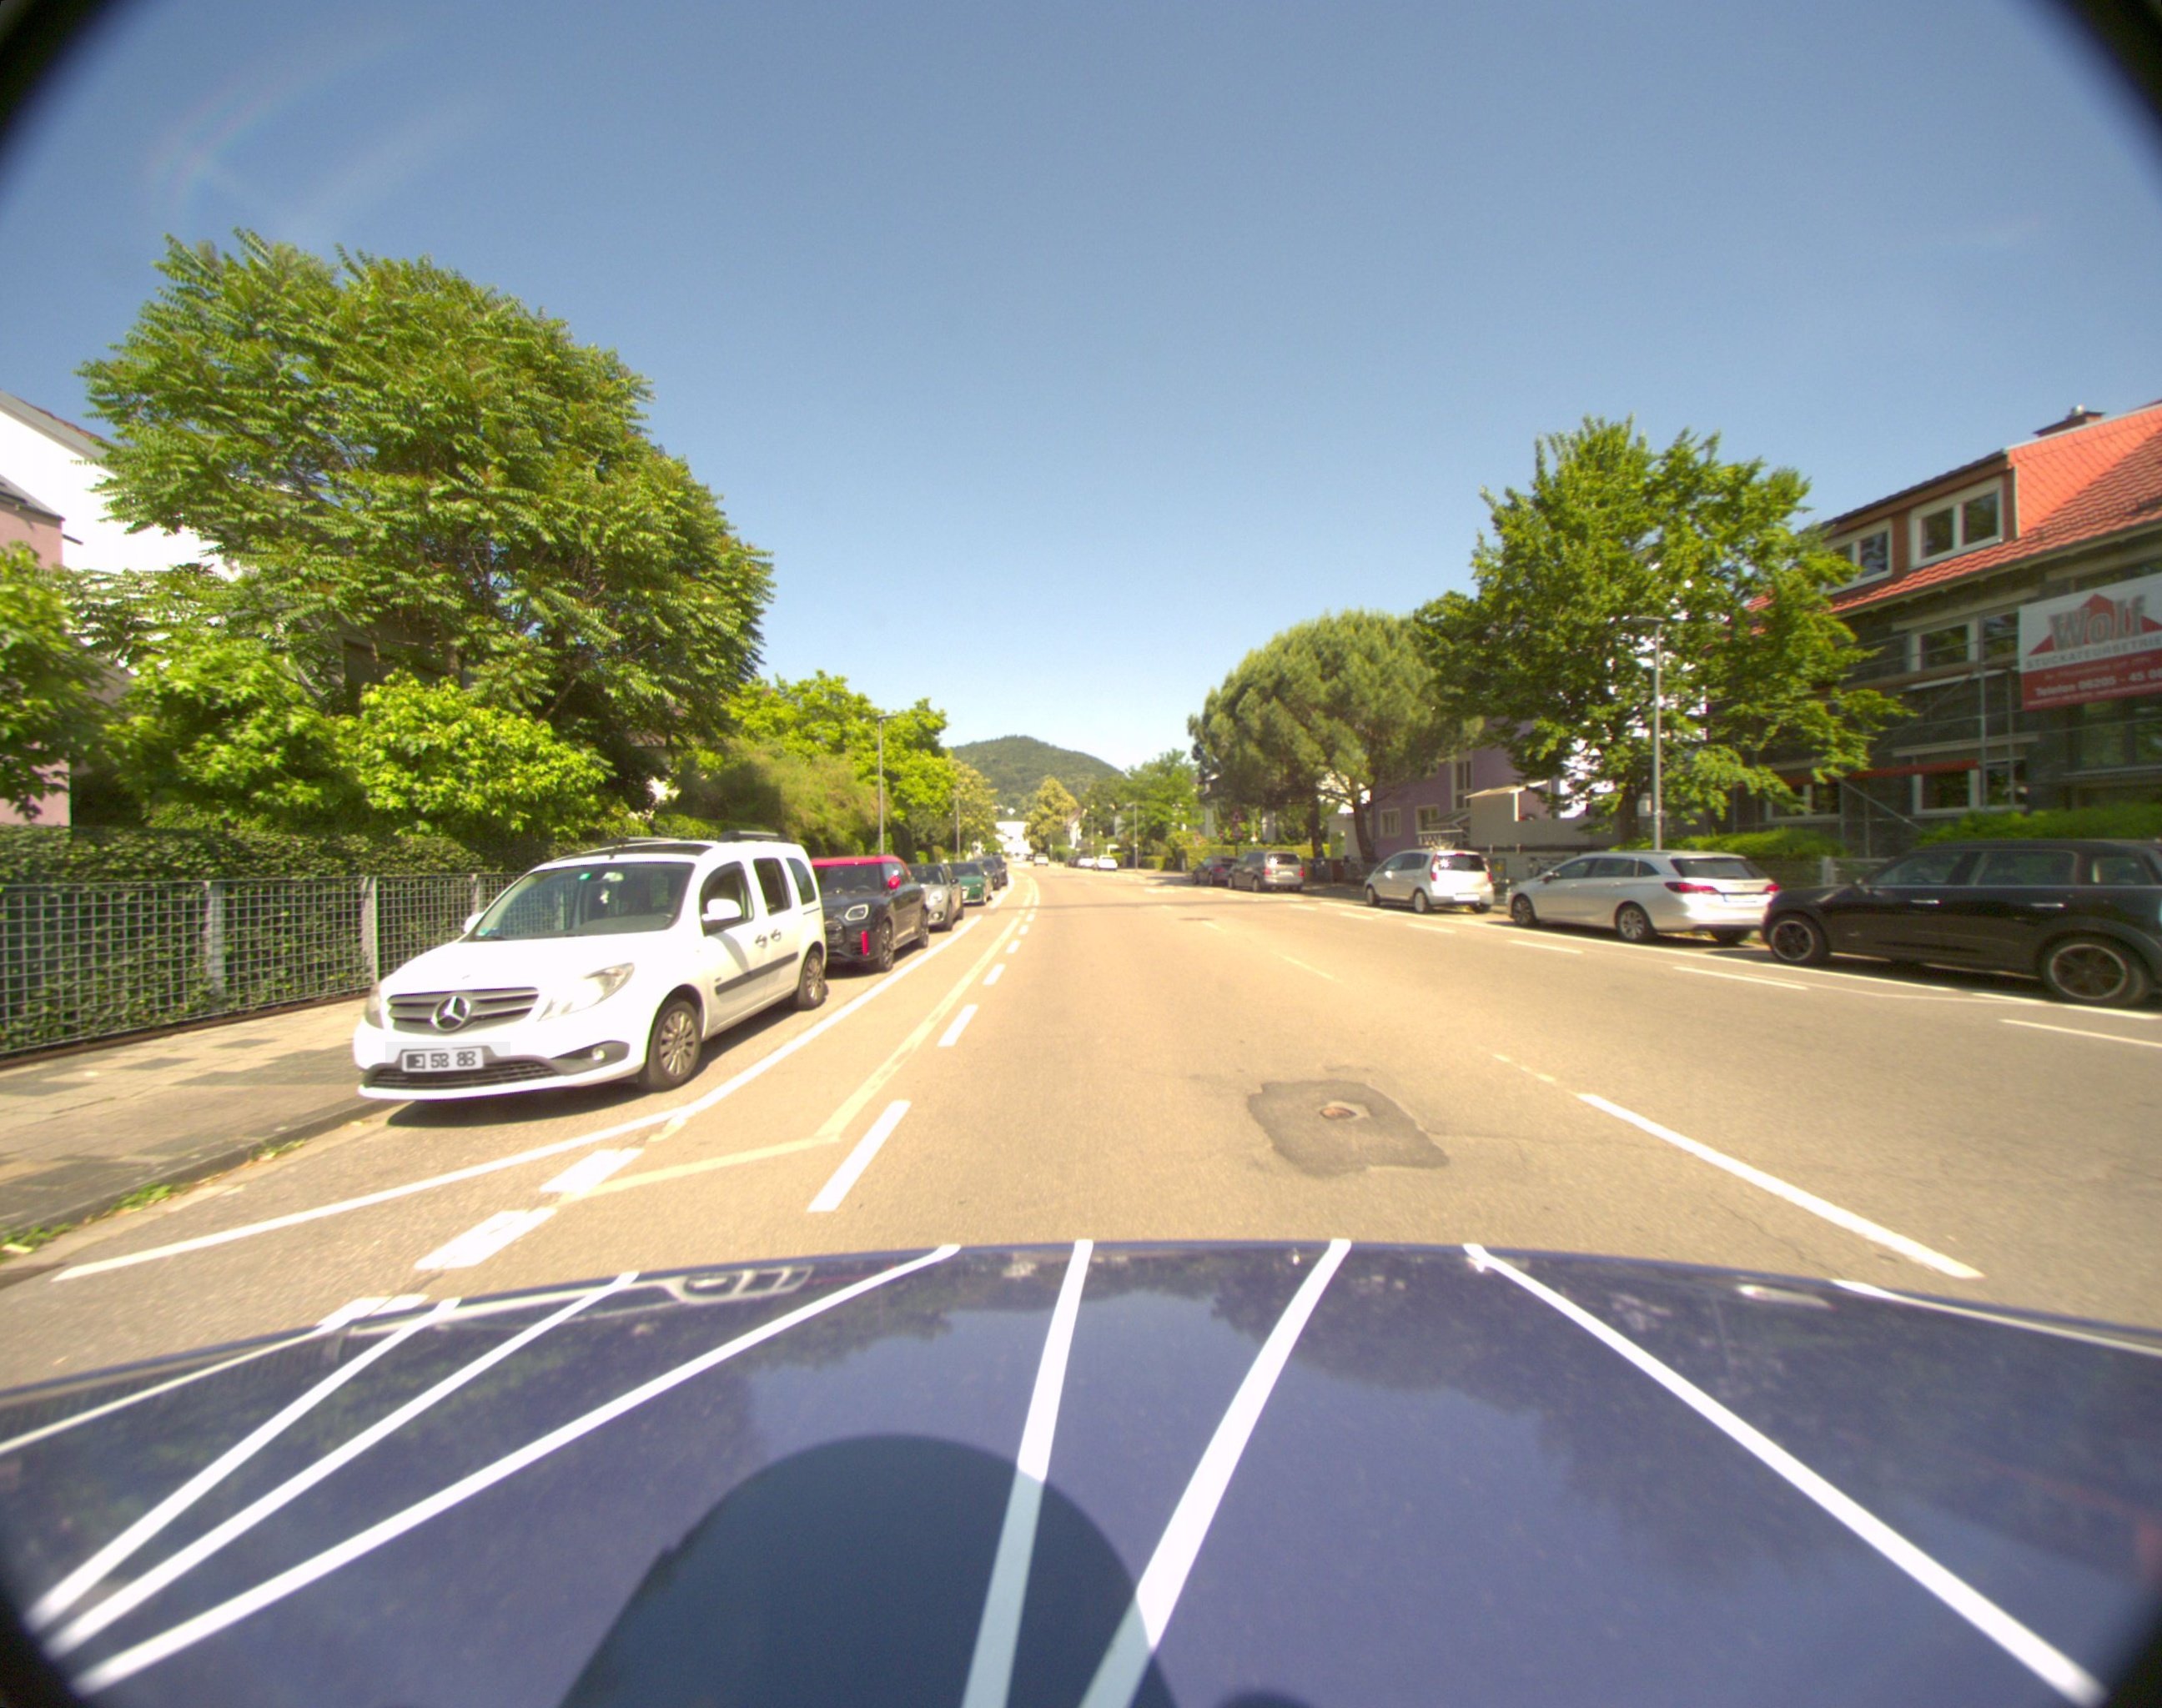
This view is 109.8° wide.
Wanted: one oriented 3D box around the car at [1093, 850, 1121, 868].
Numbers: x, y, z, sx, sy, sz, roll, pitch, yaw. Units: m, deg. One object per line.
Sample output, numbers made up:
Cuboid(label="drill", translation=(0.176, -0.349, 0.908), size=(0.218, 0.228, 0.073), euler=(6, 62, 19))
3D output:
Cuboid(label="car", translation=(2.372, 0.430, 69.947), size=(1.959, 1.543, 3.997), euler=(-1, 0, -6))

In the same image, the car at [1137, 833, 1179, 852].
Cuboid(label="car", translation=(7.600, -1.145, 75.252), size=(3.996, 1.805, 2.001), euler=(0, 0, 4))

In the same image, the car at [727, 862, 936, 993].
Cuboid(label="car", translation=(-3.511, 0.932, 11.597), size=(1.767, 1.584, 4.313), euler=(-1, 0, 0))

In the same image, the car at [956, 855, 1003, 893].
Cuboid(label="car", translation=(-4.737, 0.912, 35.816), size=(1.817, 1.550, 3.915), euler=(-5, 0, -4))

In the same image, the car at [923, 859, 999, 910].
Cuboid(label="car", translation=(-3.920, 0.940, 25.545), size=(1.817, 1.454, 4.787), euler=(-3, 0, -1))

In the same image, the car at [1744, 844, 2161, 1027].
Cuboid(label="car", translation=(9.848, 0.697, 8.171), size=(1.725, 1.550, 3.998), euler=(0, 0, -5))

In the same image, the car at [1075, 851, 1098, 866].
Cuboid(label="car", translation=(0.593, 0.466, 81.622), size=(2.000, 1.608, 3.997), euler=(-1, 0, -6))

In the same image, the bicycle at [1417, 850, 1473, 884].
Cuboid(label="bicycle", translation=(14.922, 0.544, 31.151), size=(2.179, 1.375, 0.503), euler=(0, 0, -9))

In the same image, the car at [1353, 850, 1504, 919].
Cuboid(label="car", translation=(8.615, 0.705, 19.257), size=(1.725, 1.550, 3.998), euler=(0, 0, -5))

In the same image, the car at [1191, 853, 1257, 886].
Cuboid(label="car", translation=(6.569, 0.696, 35.457), size=(1.847, 1.449, 4.191), euler=(1, 0, -7))

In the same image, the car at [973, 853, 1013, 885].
Cuboid(label="car", translation=(-4.721, 0.786, 41.140), size=(1.817, 1.550, 4.598), euler=(-3, 0, -3))

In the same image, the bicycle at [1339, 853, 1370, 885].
Cuboid(label="bicycle", translation=(11.281, 0.596, 31.437), size=(0.459, 1.259, 1.913), euler=(-1, 1, -4))

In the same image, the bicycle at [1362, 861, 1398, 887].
Cuboid(label="bicycle", translation=(11.539, 0.761, 29.372), size=(0.459, 0.948, 1.912), euler=(-1, 0, -6))

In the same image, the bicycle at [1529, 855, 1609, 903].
Cuboid(label="bicycle", translation=(12.576, 0.604, 19.659), size=(0.514, 1.132, 2.238), euler=(-1, 1, -4))

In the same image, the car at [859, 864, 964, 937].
Cuboid(label="car", translation=(-3.706, 0.952, 17.256), size=(1.767, 1.435, 4.067), euler=(0, 0, -4))

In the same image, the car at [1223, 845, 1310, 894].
Cuboid(label="car", translation=(7.202, 0.576, 30.040), size=(1.847, 1.754, 4.582), euler=(0, 0, -7))

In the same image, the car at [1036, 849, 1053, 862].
Cuboid(label="car", translation=(-5.190, 0.245, 106.940), size=(2.006, 1.803, 4.762), euler=(0, 0, -7))

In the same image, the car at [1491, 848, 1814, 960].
Cuboid(label="car", translation=(9.304, 0.709, 13.004), size=(1.725, 1.550, 4.670), euler=(0, 0, -5))

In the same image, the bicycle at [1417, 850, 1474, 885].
Cuboid(label="bicycle", translation=(14.644, 0.526, 30.543), size=(2.179, 1.375, 0.503), euler=(0, 0, -9))

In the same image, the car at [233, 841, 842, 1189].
Cuboid(label="car", translation=(-3.669, 0.838, 6.440), size=(1.767, 1.816, 4.597), euler=(-3, 1, 0))

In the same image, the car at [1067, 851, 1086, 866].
Cuboid(label="car", translation=(-0.571, 0.515, 91.962), size=(2.000, 1.674, 3.997), euler=(-1, 0, -6))
